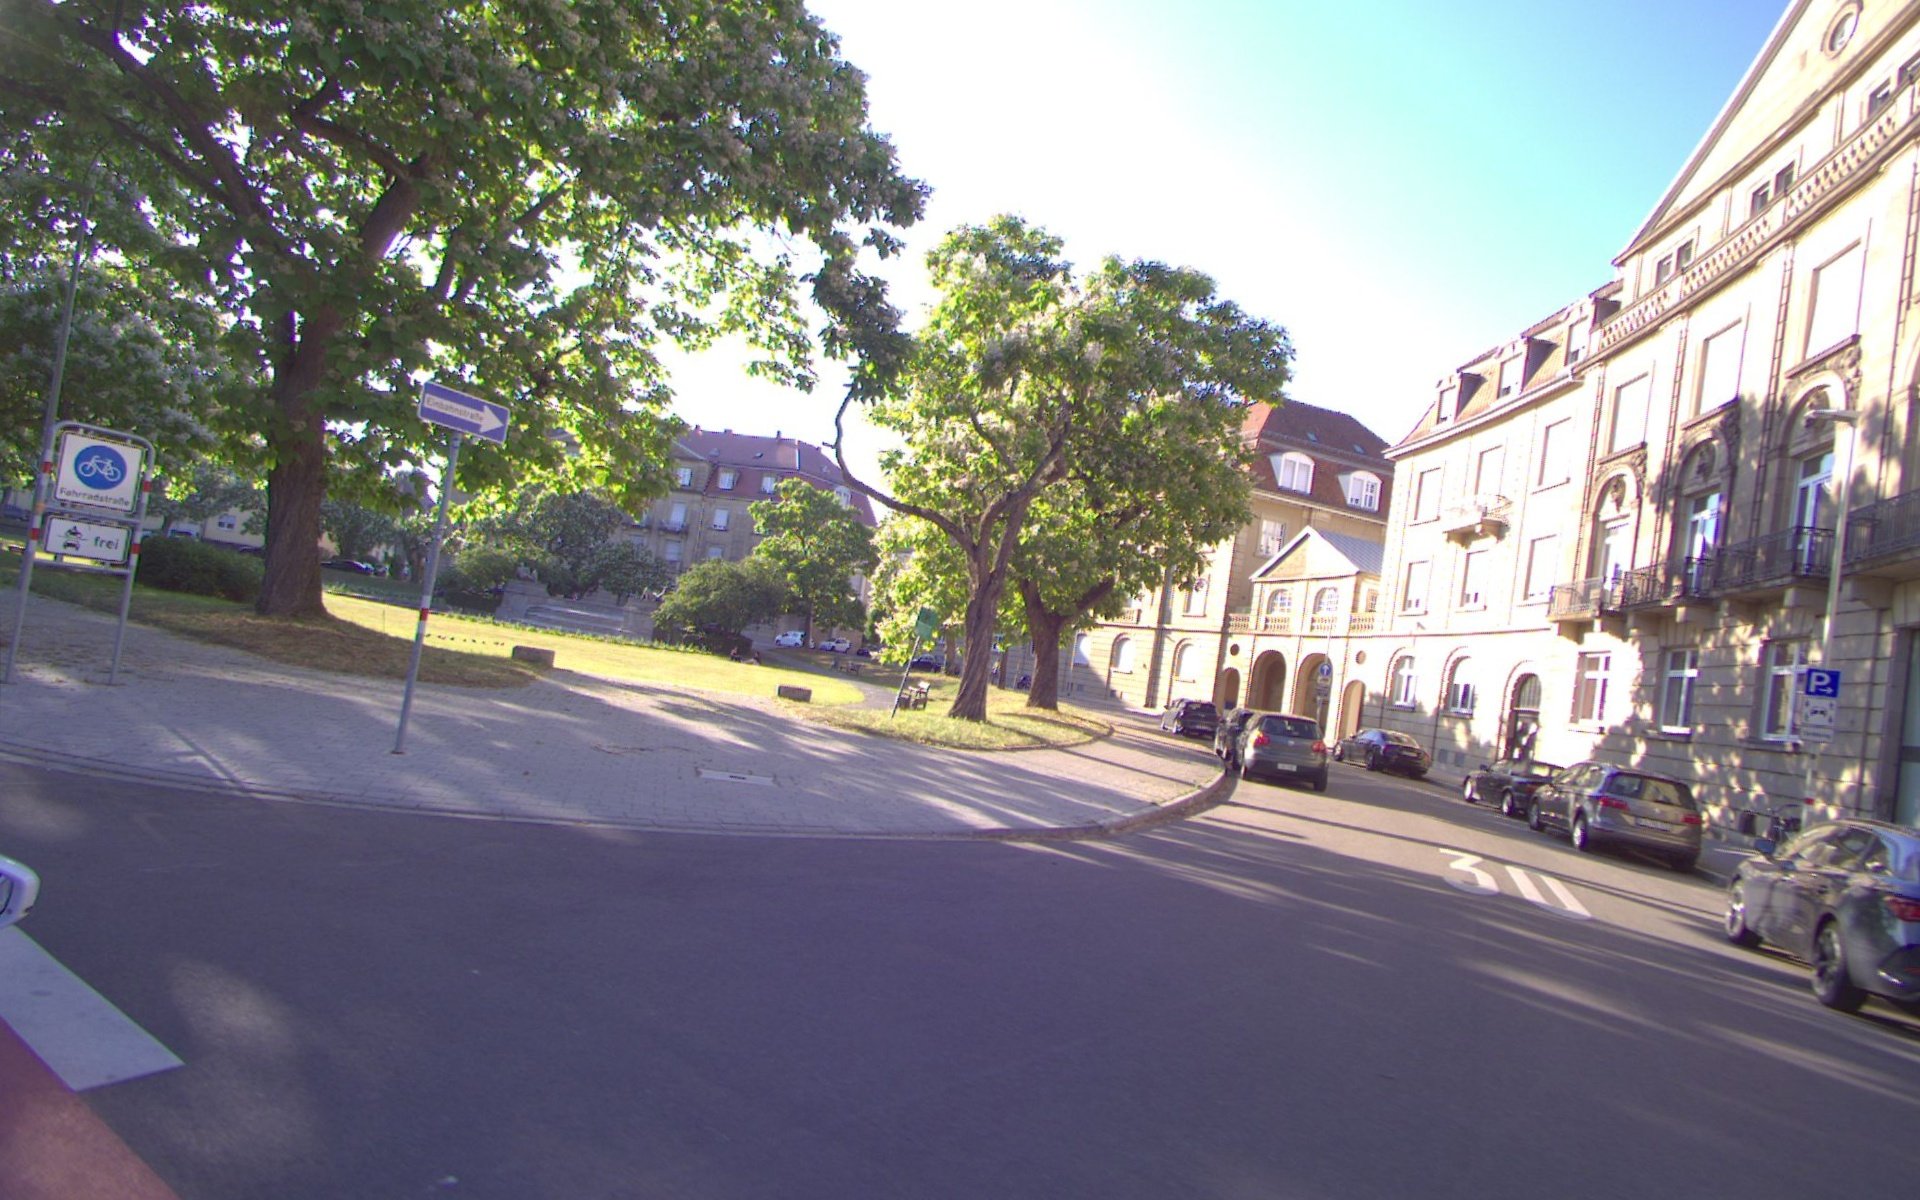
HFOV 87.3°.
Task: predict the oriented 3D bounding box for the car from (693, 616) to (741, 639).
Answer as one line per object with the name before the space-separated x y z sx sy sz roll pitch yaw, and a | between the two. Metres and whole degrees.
car | -22.087 2.507 91.477 4.029 1.433 1.818 6 -3 33

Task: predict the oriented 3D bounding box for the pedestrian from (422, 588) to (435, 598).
pedestrian | -45.715 -0.600 86.496 0.655 0.803 0.588 7 -2 21

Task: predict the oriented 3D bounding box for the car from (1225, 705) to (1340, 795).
car | 7.051 3.238 22.400 1.810 1.433 4.375 8 -3 12

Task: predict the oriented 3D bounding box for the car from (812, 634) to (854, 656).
car | -12.686 4.506 100.629 1.790 1.641 4.222 6 -3 33

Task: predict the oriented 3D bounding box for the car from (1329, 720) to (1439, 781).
car | 14.710 5.203 35.203 1.786 1.433 4.655 8 -3 1

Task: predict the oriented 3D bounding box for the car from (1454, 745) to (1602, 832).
car | 13.211 4.344 23.689 1.476 1.338 4.462 8 -3 10

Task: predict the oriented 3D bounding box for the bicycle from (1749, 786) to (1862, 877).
bicycle | 16.017 4.349 19.140 0.602 1.325 2.262 7 -3 14

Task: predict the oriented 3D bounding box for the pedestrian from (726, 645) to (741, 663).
pedestrian | -12.921 3.086 57.389 0.571 0.890 0.674 10 -3 -20

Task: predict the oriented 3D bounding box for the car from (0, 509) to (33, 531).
car | -86.698 -7.397 90.565 4.497 1.586 1.860 11 -4 -40

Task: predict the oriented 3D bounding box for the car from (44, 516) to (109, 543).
car | -78.000 -6.189 88.896 3.961 1.569 1.598 10 -3 -31

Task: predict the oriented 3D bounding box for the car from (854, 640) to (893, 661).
car | -9.110 5.326 105.948 1.790 1.641 4.222 6 -3 33

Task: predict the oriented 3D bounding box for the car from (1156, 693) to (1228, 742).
car | 8.955 4.515 39.193 1.786 1.433 4.377 8 -3 2

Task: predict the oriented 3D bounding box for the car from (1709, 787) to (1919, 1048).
car | 7.960 2.560 8.328 1.902 1.434 4.455 7 -3 27

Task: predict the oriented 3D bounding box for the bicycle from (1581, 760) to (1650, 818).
bicycle | 17.891 5.133 27.521 0.602 1.243 2.127 8 -3 8

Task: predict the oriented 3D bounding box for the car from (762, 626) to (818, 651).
car | -14.477 3.284 85.550 4.878 1.433 1.814 6 -3 39

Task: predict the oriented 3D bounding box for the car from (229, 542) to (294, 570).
car | -65.514 -4.106 94.438 4.458 1.765 1.876 9 -3 -15

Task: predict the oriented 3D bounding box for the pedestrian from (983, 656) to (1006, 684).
pedestrian | 2.057 4.167 60.029 0.935 1.491 0.682 6 -2 34

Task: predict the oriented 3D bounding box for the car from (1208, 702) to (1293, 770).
car | 8.094 3.743 28.367 1.537 1.433 4.447 8 -3 9

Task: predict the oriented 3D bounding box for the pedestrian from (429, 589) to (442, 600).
pedestrian | -44.983 -0.486 86.246 0.655 0.803 0.588 7 -2 21

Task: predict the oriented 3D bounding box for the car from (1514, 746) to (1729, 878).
car | 11.969 3.756 18.595 1.768 1.617 4.462 7 -3 14

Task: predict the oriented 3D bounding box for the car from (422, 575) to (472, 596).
car | -52.547 -1.459 103.078 3.926 1.469 1.883 8 -3 1

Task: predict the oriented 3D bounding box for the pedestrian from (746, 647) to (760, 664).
pedestrian | -11.843 3.175 57.541 0.571 0.890 0.674 10 -3 -20

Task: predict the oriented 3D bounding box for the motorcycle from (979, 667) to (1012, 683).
motorcycle | 2.100 4.449 59.957 1.829 0.678 0.682 6 -3 34

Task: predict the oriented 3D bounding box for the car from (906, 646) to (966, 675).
car | -1.755 4.320 72.090 1.803 1.433 4.908 10 -3 -33

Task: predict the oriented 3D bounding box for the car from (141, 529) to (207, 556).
car | -75.716 -5.527 96.957 4.470 1.765 1.871 10 -3 -24

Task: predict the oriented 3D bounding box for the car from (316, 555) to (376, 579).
car | -58.354 -3.105 95.674 4.292 1.469 1.880 9 -3 -6
